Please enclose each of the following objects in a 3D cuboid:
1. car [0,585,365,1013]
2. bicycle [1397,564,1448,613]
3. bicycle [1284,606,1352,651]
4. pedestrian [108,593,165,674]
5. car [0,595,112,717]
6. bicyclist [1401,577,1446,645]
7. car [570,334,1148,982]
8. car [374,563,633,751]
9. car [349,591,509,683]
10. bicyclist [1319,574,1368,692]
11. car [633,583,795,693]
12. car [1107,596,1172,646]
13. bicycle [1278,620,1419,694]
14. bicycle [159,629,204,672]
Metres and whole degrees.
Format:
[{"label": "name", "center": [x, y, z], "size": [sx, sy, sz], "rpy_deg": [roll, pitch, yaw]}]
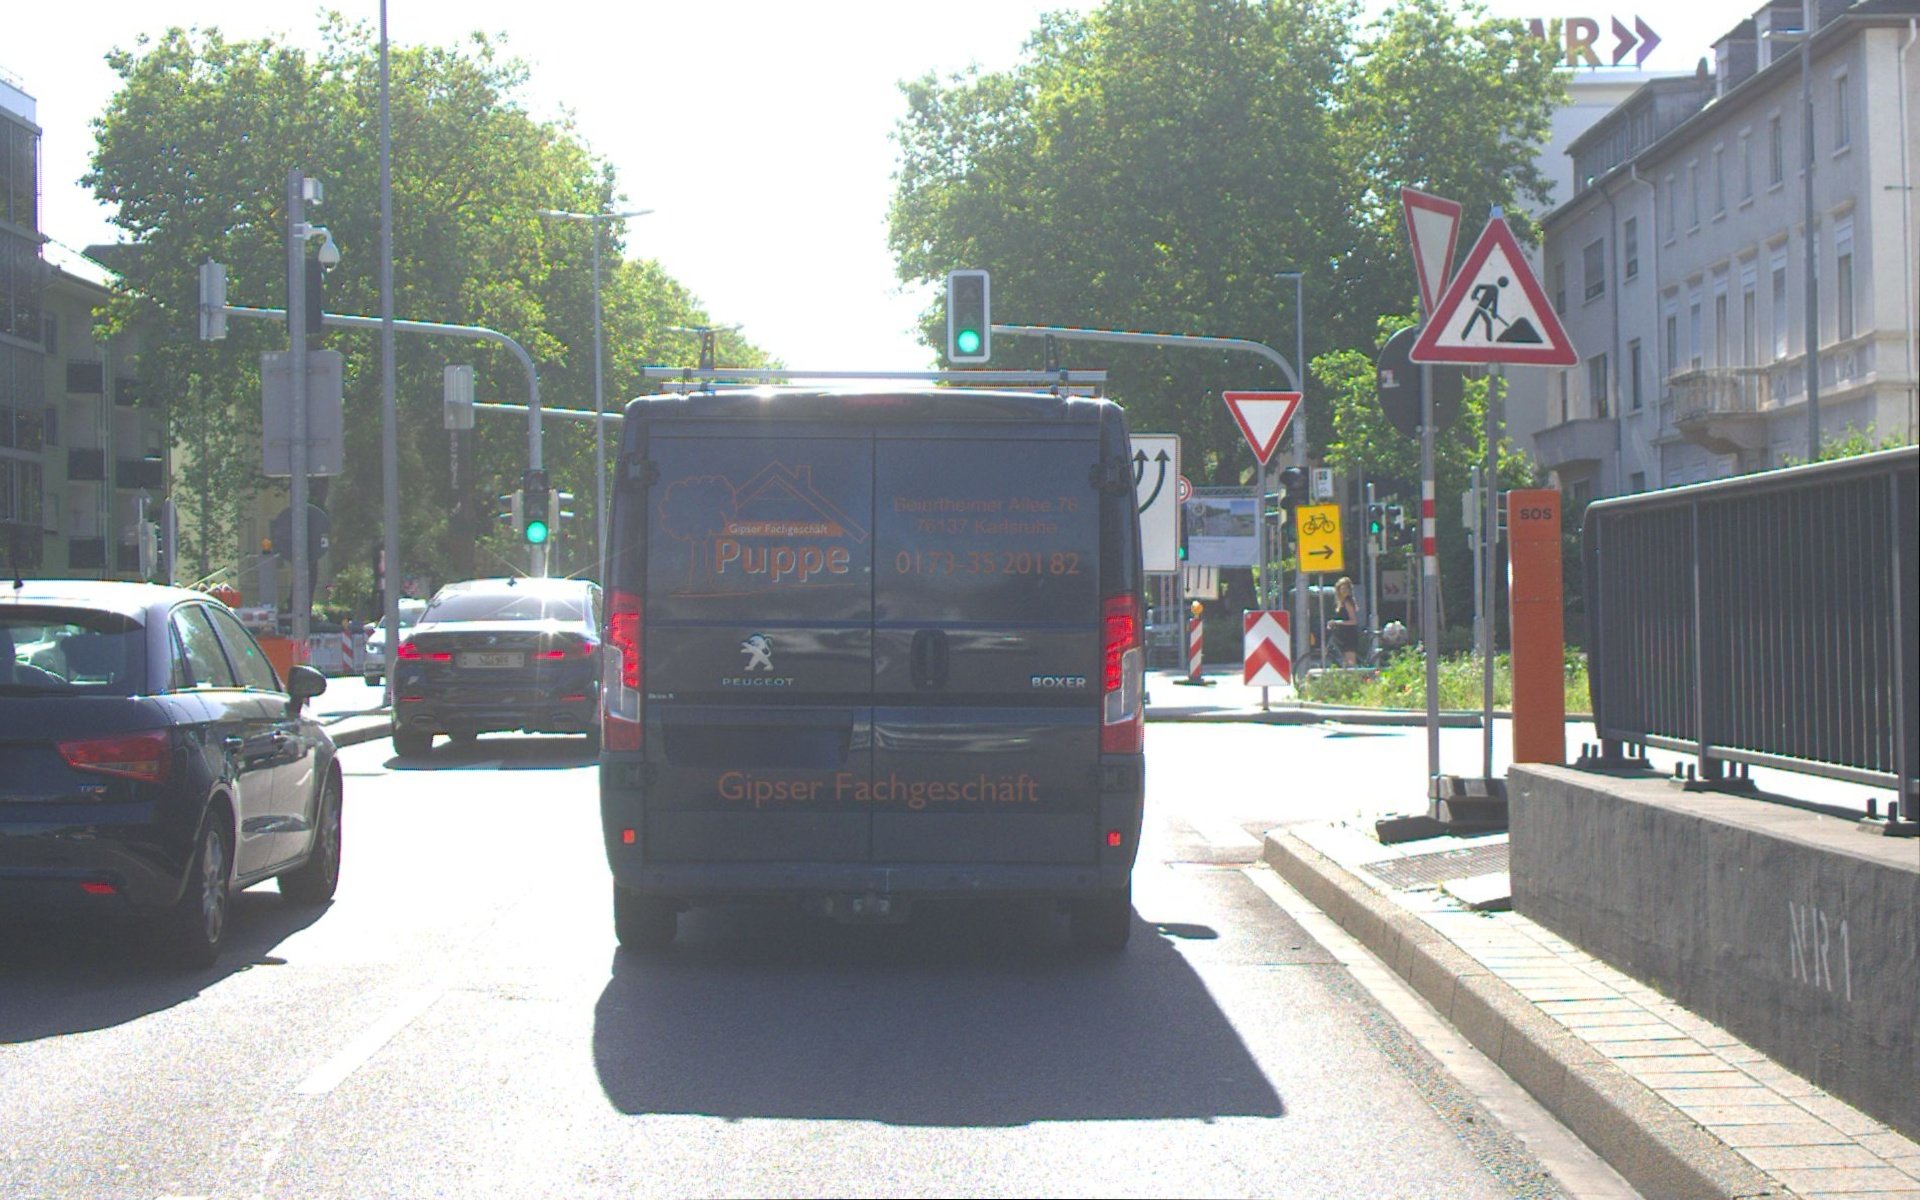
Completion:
[{"label": "car", "center": [-3.583, 0.684, 13.919], "size": [1.746, 1.402, 4.000], "rpy_deg": [1, 1, -2]}, {"label": "bicycle", "center": [10.356, -0.257, 77.014], "size": [0.688, 1.094, 1.687], "rpy_deg": [-1, 0, -8]}, {"label": "bicycle", "center": [8.144, 0.637, 78.179], "size": [0.588, 1.002, 2.127], "rpy_deg": [-1, 0, 35]}, {"label": "pedestrian", "center": [-17.569, 0.701, 73.337], "size": [0.865, 1.705, 1.012], "rpy_deg": [-1, 0, 7]}, {"label": "car", "center": [-12.134, 0.710, 43.657], "size": [1.607, 1.436, 4.311], "rpy_deg": [-3, 0, 0]}, {"label": "bicyclist", "center": [10.386, 0.249, 77.013], "size": [0.723, 1.494, 0.871], "rpy_deg": [-1, 0, -12]}, {"label": "car", "center": [-0.390, 0.177, 14.443], "size": [2.095, 2.347, 3.933], "rpy_deg": [0, 1, -1]}, {"label": "car", "center": [-3.774, 0.428, 29.009], "size": [1.746, 1.402, 4.001], "rpy_deg": [1, 1, -2]}, {"label": "car", "center": [-9.267, 0.621, 60.322], "size": [1.993, 1.448, 4.618], "rpy_deg": [0, 1, 1]}, {"label": "bicyclist", "center": [5.576, 0.474, 49.985], "size": [0.603, 1.703, 0.858], "rpy_deg": [-1, 0, 0]}, {"label": "car", "center": [-3.453, 0.508, 48.999], "size": [1.911, 1.439, 4.602], "rpy_deg": [1, 1, 1]}, {"label": "car", "center": [5.526, 0.654, 106.152], "size": [1.763, 1.503, 4.251], "rpy_deg": [0, 0, 0]}, {"label": "bicycle", "center": [5.634, 0.823, 49.930], "size": [1.962, 1.022, 0.605], "rpy_deg": [1, 0, 0]}, {"label": "bicycle", "center": [-19.292, 1.247, 85.215], "size": [0.627, 1.033, 1.879], "rpy_deg": [0, 0, 1]}]
